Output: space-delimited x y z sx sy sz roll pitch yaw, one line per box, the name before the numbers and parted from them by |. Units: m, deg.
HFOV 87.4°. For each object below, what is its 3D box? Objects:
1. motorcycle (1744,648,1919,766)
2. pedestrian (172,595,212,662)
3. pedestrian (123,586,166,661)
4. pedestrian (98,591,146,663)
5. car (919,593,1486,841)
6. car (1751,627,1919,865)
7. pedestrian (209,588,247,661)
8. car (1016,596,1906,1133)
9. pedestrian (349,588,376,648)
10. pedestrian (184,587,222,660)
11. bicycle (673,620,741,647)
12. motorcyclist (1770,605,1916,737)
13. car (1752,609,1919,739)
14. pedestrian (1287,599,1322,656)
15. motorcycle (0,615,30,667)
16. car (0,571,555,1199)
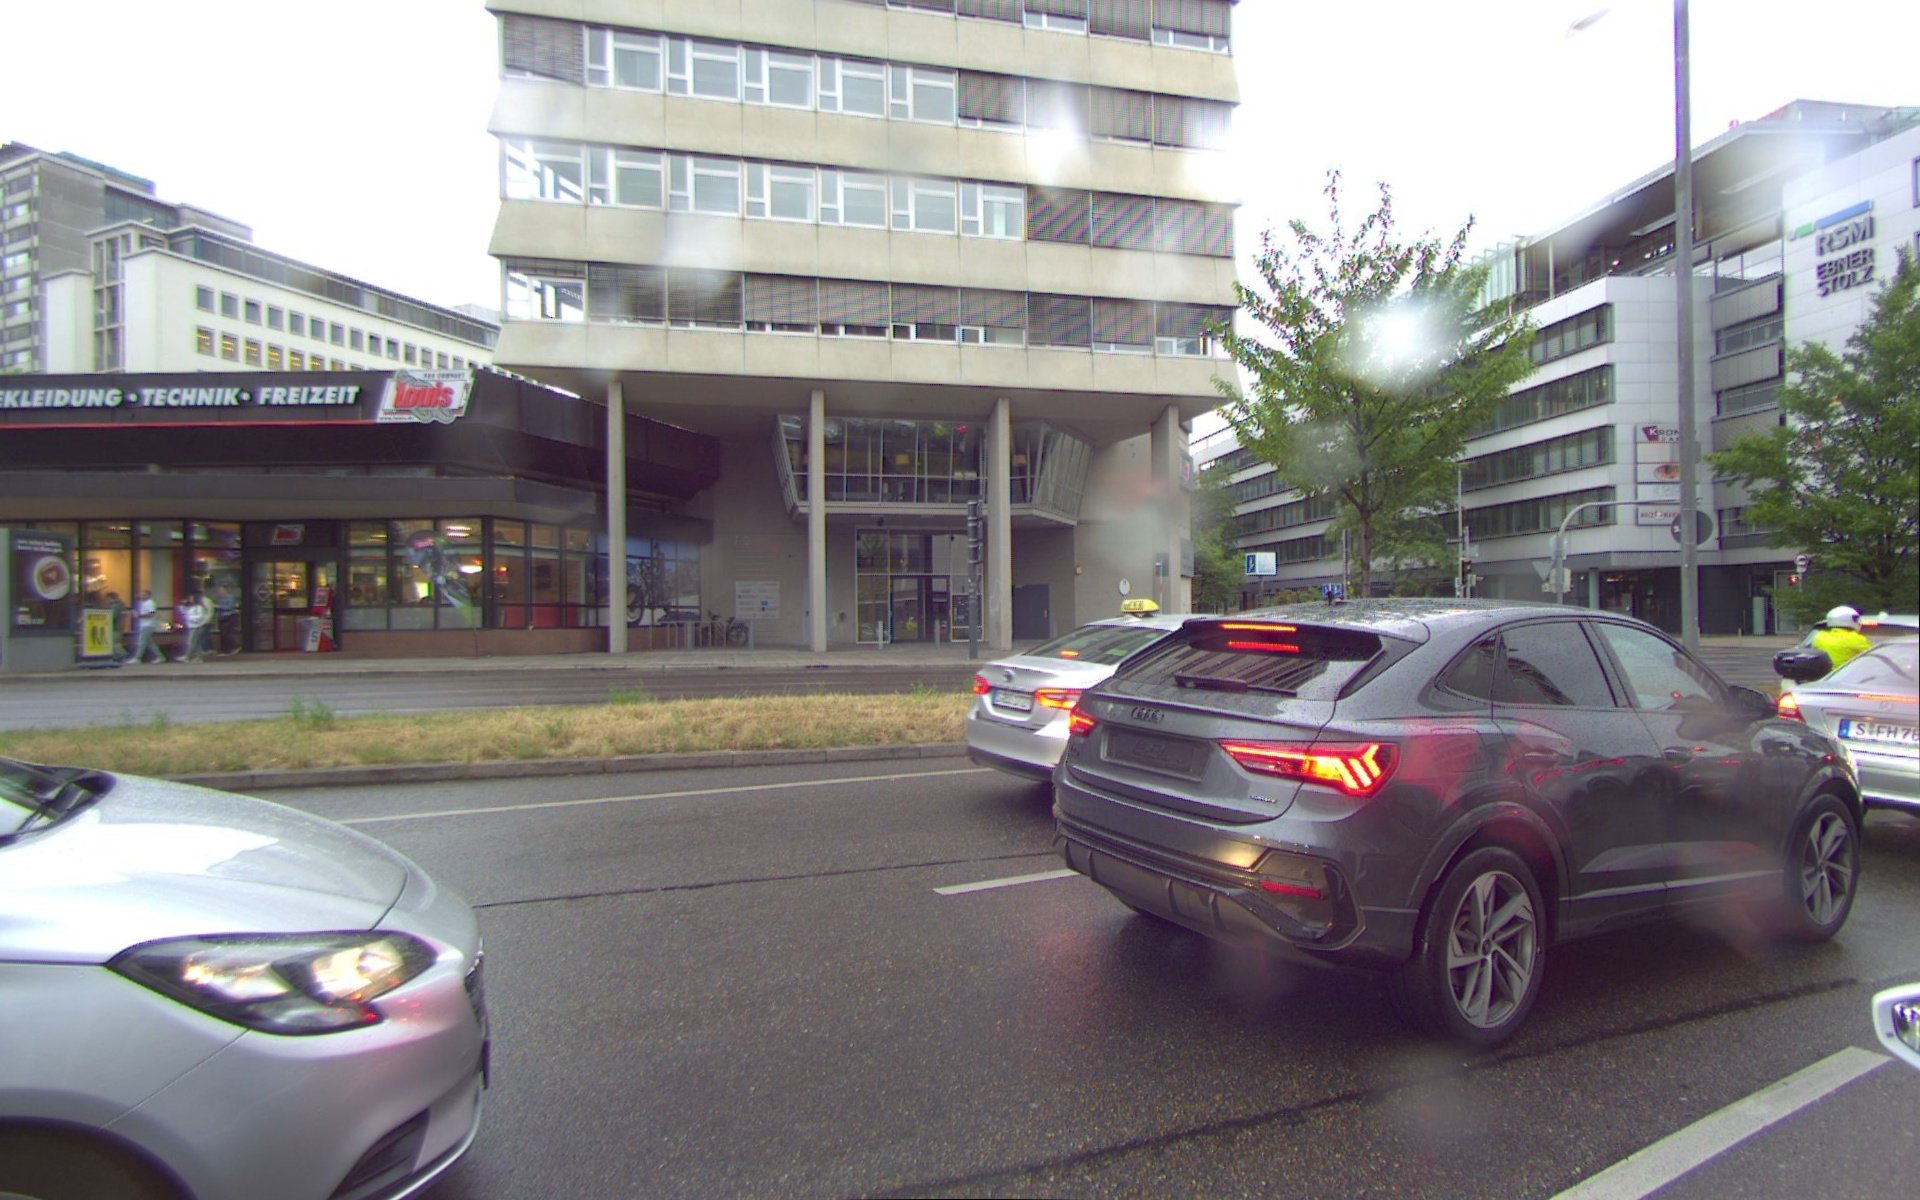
motorcycle | 9.865 1.164 11.231 1.998 1.200 0.799 2 0 -21
pedestrian | -18.333 0.678 23.993 0.548 1.591 0.541 1 0 -9
pedestrian | -19.552 0.560 24.101 0.548 1.767 0.614 1 0 -9
pedestrian | -19.439 0.624 23.313 0.601 1.633 0.614 1 0 -9
car | 2.160 0.765 8.390 4.725 1.554 1.855 1 0 -33
car | 7.701 0.964 7.061 4.050 1.426 1.567 2 0 -22
pedestrian | -18.074 0.602 24.800 0.548 1.767 0.541 1 0 -9
car | 2.475 0.790 4.666 4.220 1.542 1.640 1 0 -30
pedestrian | -17.373 0.517 29.210 0.436 1.741 0.509 1 0 3
pedestrian | -18.780 0.581 24.935 0.548 1.767 0.541 1 0 -9
bicycle | -8.538 1.124 33.984 2.165 0.871 0.456 2 0 -31
motorcyclist | 9.841 0.773 11.210 1.101 1.398 0.769 2 0 -20
car | 12.645 0.930 13.212 3.940 1.506 1.704 2 0 -21
pedestrian | 10.593 0.839 30.860 0.751 1.706 0.677 1 0 -16
motorcycle | -23.518 0.984 24.190 0.353 1.249 1.669 1 0 20
car | -2.859 0.659 1.688 3.831 1.455 1.639 1 0 -32
